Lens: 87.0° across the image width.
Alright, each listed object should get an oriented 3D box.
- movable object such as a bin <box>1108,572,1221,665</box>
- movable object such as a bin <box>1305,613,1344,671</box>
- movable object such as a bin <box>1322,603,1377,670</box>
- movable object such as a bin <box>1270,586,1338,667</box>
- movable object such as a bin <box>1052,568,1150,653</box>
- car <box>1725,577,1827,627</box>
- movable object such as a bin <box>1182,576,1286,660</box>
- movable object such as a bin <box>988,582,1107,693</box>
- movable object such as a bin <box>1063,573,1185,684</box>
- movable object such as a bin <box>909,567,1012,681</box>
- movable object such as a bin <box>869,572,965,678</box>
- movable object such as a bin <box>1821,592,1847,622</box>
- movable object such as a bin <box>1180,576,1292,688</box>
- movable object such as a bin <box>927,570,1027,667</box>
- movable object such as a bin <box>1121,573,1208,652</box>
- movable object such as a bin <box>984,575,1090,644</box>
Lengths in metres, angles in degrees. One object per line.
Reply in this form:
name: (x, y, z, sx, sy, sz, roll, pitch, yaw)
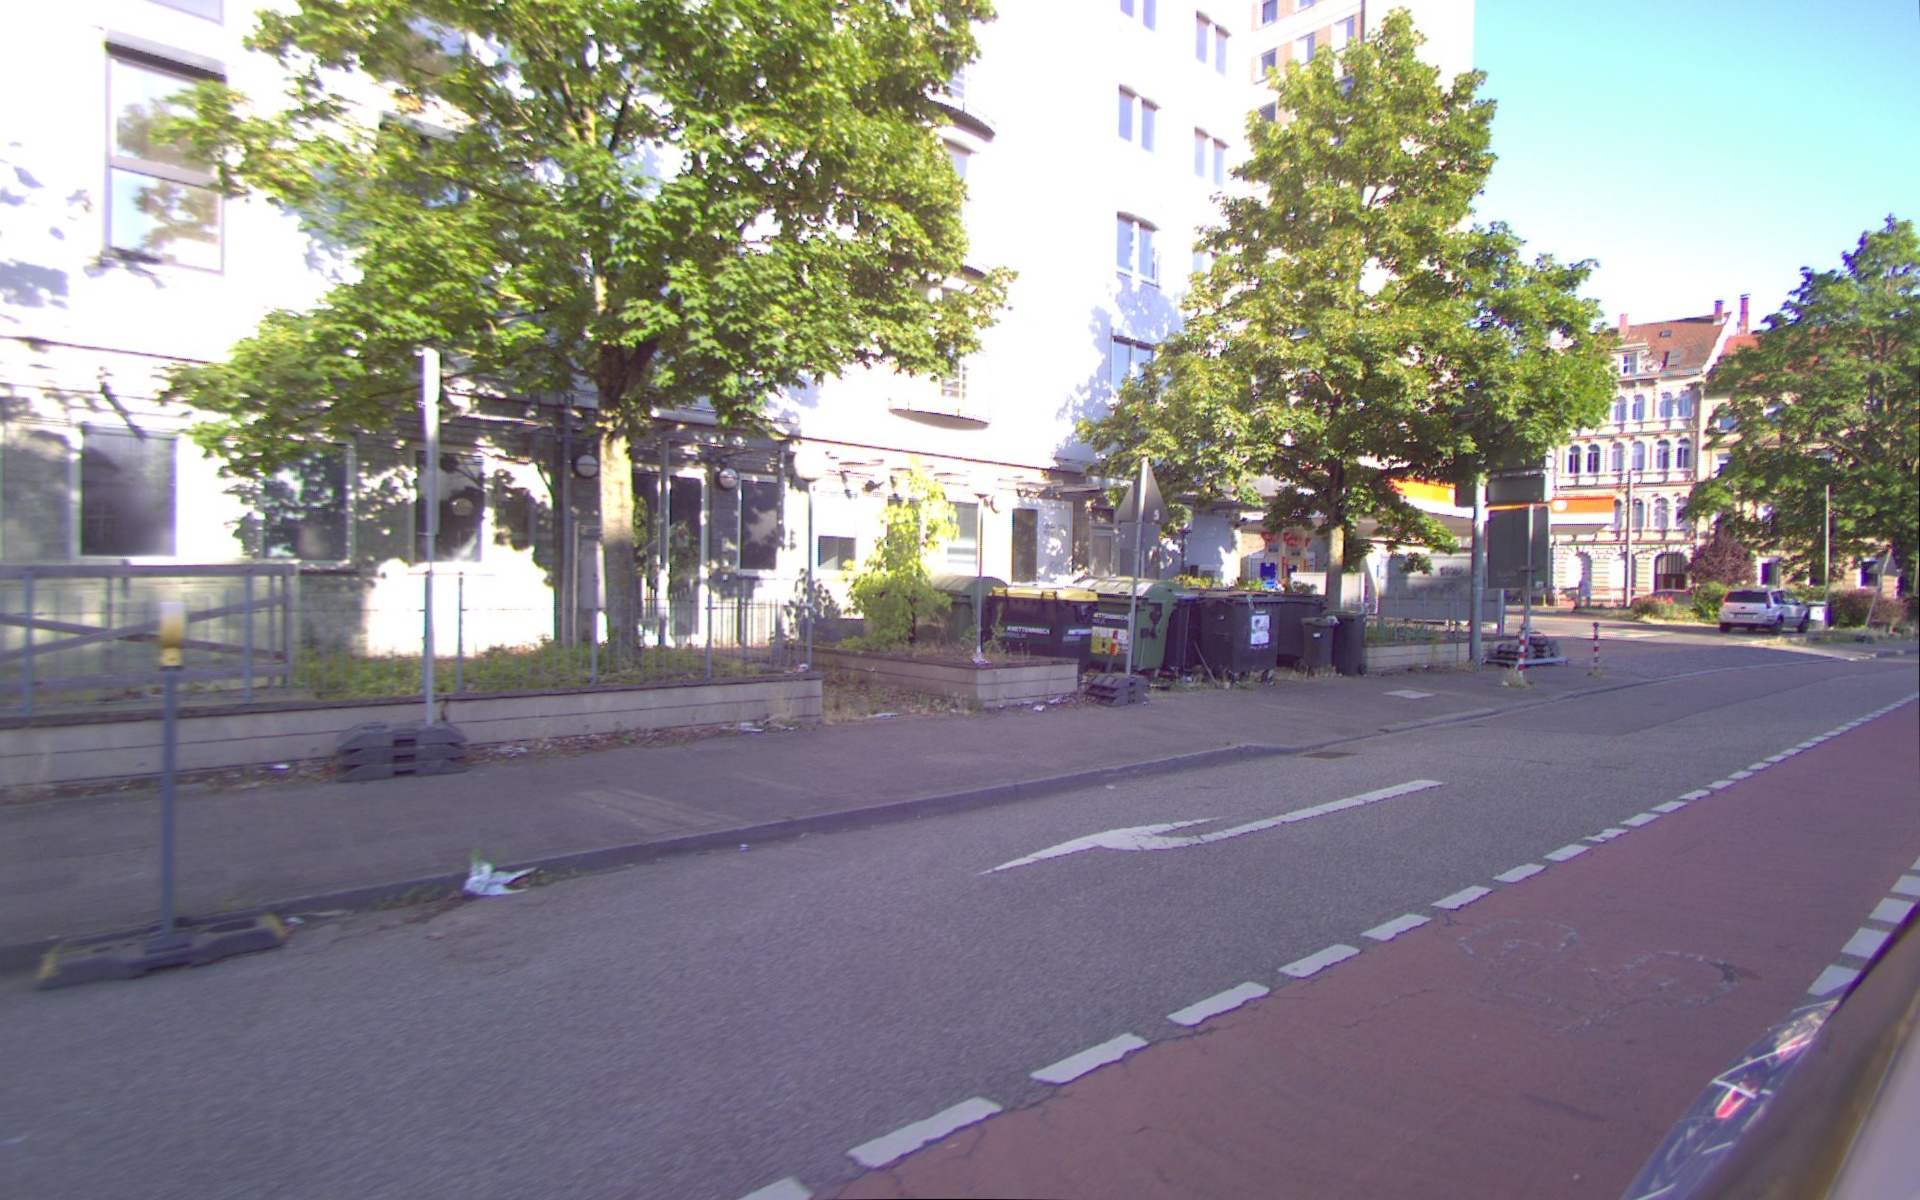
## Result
movable object such as a bin: (3.430, 0.289, 17.030, 1.255, 1.451, 1.313, 1, 2, -35)
movable object such as a bin: (5.964, 0.677, 16.545, 0.481, 0.918, 0.394, 0, 1, -38)
movable object such as a bin: (6.476, 0.599, 16.820, 0.605, 1.059, 0.621, 0, 1, -38)
movable object such as a bin: (5.894, 0.429, 17.349, 0.850, 1.325, 0.779, 0, 1, -41)
movable object such as a bin: (2.567, 0.177, 18.445, 1.255, 1.438, 1.199, 1, 2, -38)
car: (27.791, 0.025, 34.442, 3.819, 1.613, 1.625, 0, 2, -34)
movable object such as a bin: (4.921, 0.287, 18.249, 0.850, 1.427, 1.610, 0, 1, -41)
movable object such as a bin: (1.157, 0.452, 13.381, 1.210, 1.361, 1.042, 1, 1, 35)
movable object such as a bin: (2.394, 0.373, 14.782, 1.325, 1.503, 1.193, 2, 1, 40)
movable object such as a bin: (-0.001, 0.303, 14.157, 0.940, 1.503, 1.105, 0, 1, -41)
movable object such as a bin: (-0.650, 0.344, 15.149, 0.939, 1.503, 1.128, 0, 1, -40)
movable object such as a bin: (31.650, 0.243, 36.634, 0.661, 1.042, 0.573, 0, 1, -36)
movable object such as a bin: (4.107, 0.431, 15.055, 1.232, 1.526, 1.095, -3, 3, -40)
movable object such as a bin: (0.263, 0.276, 16.564, 0.999, 1.503, 1.329, 0, 1, -41)
movable object such as a bin: (3.926, 0.217, 19.506, 0.850, 1.427, 1.408, 0, 2, -41)
movable object such as a bin: (1.343, 0.134, 17.739, 1.220, 1.143, 1.422, 0, 1, -39)
